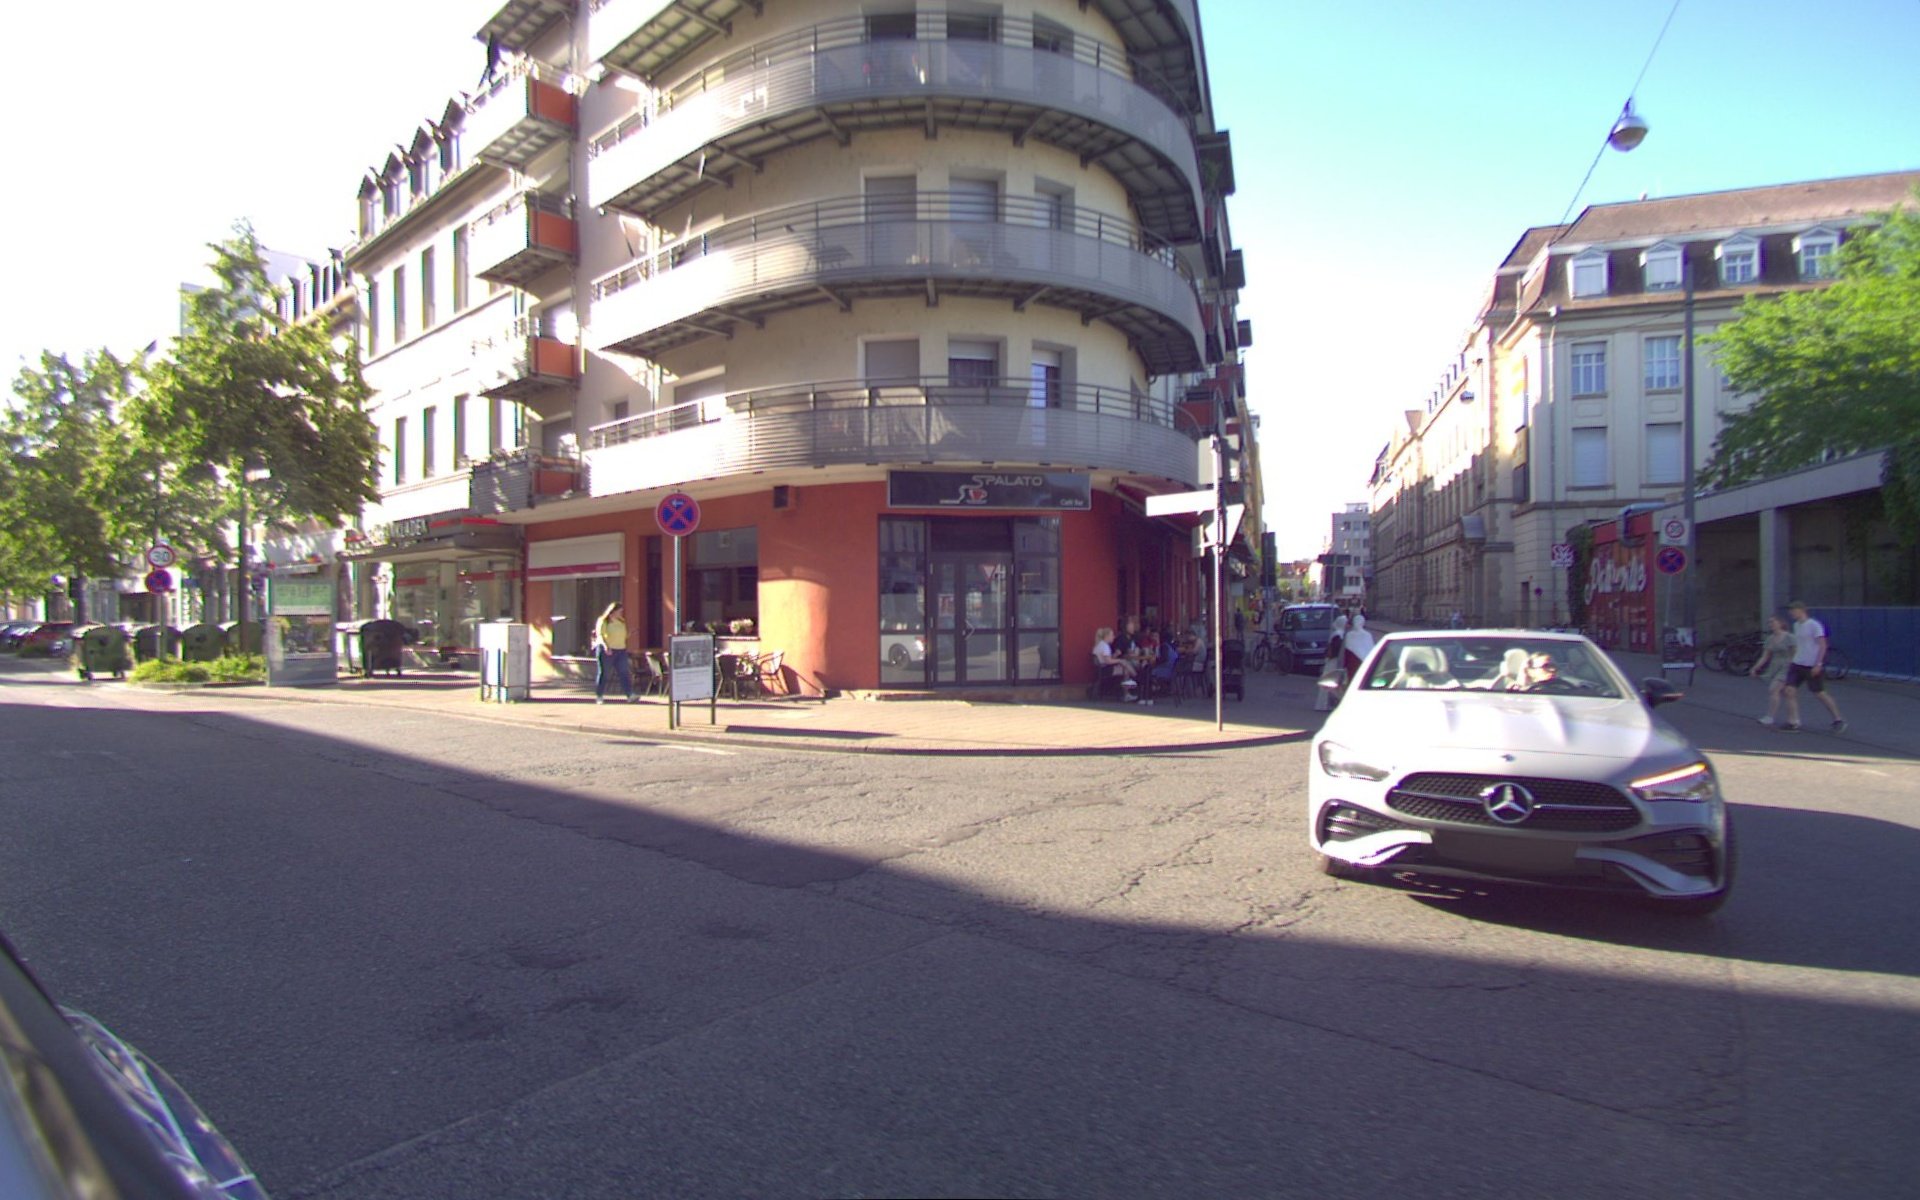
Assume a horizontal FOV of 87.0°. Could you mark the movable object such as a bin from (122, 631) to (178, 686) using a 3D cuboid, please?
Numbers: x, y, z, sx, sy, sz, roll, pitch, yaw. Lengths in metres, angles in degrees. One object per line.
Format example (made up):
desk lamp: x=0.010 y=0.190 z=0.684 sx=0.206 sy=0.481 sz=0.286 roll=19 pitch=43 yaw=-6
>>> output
movable object such as a bin: x=-22.715 y=1.625 z=28.376 sx=1.143 sy=1.483 sz=1.031 roll=-1 pitch=-2 yaw=41

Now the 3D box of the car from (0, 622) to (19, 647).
car: x=-72.328 y=2.606 z=74.669 sx=2.038 sy=1.850 sz=4.061 roll=-2 pitch=-1 yaw=42

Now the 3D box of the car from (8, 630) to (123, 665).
car: x=-40.731 y=2.119 z=46.123 sx=1.790 sy=1.439 sz=3.798 roll=-2 pitch=-1 yaw=43

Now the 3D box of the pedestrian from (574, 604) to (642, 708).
pedestrian: x=-5.903 y=0.920 z=16.944 sx=1.036 sy=1.672 sz=0.658 roll=-2 pitch=-2 yaw=42

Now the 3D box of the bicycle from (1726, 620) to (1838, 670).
bicycle: x=19.043 y=1.042 z=23.477 sx=1.946 sy=1.140 sz=0.504 roll=0 pitch=-2 yaw=14

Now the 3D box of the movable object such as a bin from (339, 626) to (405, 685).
movable object such as a bin: x=-14.626 y=1.347 z=25.170 sx=1.313 sy=1.415 sz=1.031 roll=-1 pitch=-2 yaw=41

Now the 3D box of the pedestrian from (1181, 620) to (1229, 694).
pedestrian: x=4.565 y=1.059 z=18.887 sx=0.689 sy=1.350 sz=0.576 roll=0 pitch=-1 yaw=-11

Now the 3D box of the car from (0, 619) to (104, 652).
car: x=-47.224 y=1.825 z=52.213 sx=1.789 sy=1.469 sz=4.448 roll=-1 pitch=0 yaw=40

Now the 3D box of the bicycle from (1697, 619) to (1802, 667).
bicycle: x=19.252 y=1.043 z=24.703 sx=1.946 sy=1.140 sz=0.504 roll=0 pitch=-2 yaw=14

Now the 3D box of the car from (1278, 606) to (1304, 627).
car: x=25.434 y=1.278 z=77.818 sx=1.895 sy=1.585 sz=4.157 roll=0 pitch=-2 yaw=18

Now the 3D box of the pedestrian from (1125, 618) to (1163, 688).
pedestrian: x=3.586 y=1.019 z=19.720 sx=0.693 sy=1.350 sz=0.572 roll=-1 pitch=-1 yaw=13

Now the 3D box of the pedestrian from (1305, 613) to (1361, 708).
pedestrian: x=6.157 y=0.990 z=16.717 sx=0.690 sy=1.547 sz=0.574 roll=0 pitch=-1 yaw=1

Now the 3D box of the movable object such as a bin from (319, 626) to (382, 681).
movable object such as a bin: x=-15.713 y=1.352 z=26.095 sx=1.313 sy=1.355 sz=1.031 roll=-1 pitch=-2 yaw=41

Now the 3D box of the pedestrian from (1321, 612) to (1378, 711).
pedestrian: x=6.199 y=0.962 z=16.137 sx=0.678 sy=1.547 sz=0.542 roll=0 pitch=-1 yaw=1

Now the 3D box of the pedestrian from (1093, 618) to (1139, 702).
pedestrian: x=2.580 y=0.981 z=16.703 sx=0.693 sy=1.350 sz=0.572 roll=-1 pitch=-1 yaw=13

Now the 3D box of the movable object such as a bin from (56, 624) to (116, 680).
movable object such as a bin: x=-23.821 y=1.398 z=27.589 sx=1.452 sy=1.483 sz=1.031 roll=-1 pitch=-2 yaw=41

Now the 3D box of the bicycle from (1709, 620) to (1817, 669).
bicycle: x=19.096 y=1.052 z=24.103 sx=1.946 sy=1.140 sz=0.504 roll=0 pitch=-2 yaw=14

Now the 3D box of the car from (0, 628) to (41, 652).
car: x=-65.523 y=2.725 z=68.805 sx=1.946 sy=1.582 sz=4.319 roll=-2 pitch=-1 yaw=42

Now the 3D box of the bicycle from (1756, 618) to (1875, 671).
bicycle: x=18.797 y=0.968 z=22.279 sx=1.946 sy=1.140 sz=0.504 roll=0 pitch=-2 yaw=14

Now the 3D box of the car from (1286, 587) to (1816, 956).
car: x=3.619 y=0.757 z=6.679 sx=1.990 sy=1.434 sz=5.069 roll=0 pitch=-2 yaw=27

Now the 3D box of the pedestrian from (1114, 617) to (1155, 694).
pedestrian: x=3.126 y=0.988 z=18.095 sx=0.693 sy=1.350 sz=0.572 roll=-1 pitch=-1 yaw=13

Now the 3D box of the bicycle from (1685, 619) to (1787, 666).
bicycle: x=19.386 y=1.052 z=25.312 sx=1.946 sy=1.140 sz=0.504 roll=0 pitch=-2 yaw=14

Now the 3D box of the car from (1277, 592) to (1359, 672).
car: x=9.986 y=0.910 z=28.507 sx=2.018 sy=2.065 sz=4.325 roll=0 pitch=-2 yaw=18

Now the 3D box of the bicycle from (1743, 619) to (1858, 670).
bicycle: x=18.923 y=0.993 z=22.823 sx=1.946 sy=1.140 sz=0.504 roll=0 pitch=-2 yaw=14

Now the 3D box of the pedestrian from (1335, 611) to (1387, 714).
pedestrian: x=6.142 y=0.946 z=15.524 sx=0.545 sy=1.547 sz=0.542 roll=0 pitch=-1 yaw=1

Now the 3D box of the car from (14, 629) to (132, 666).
car: x=-38.797 y=2.046 z=44.321 sx=1.739 sy=1.479 sz=3.708 roll=-2 pitch=-1 yaw=42

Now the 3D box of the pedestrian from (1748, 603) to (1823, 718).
pedestrian: x=11.975 y=0.862 z=14.696 sx=0.576 sy=1.625 sz=0.614 roll=0 pitch=-1 yaw=9

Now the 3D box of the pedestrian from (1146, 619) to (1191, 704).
pedestrian: x=3.388 y=0.986 z=16.405 sx=0.693 sy=1.350 sz=0.572 roll=-1 pitch=-1 yaw=13

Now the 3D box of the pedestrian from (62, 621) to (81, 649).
pedestrian: x=-60.306 y=2.371 z=68.692 sx=0.762 sy=1.779 sz=0.767 roll=-1 pitch=3 yaw=40

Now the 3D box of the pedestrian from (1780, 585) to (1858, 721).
pedestrian: x=11.889 y=0.727 z=14.022 sx=0.552 sy=1.841 sz=0.586 roll=0 pitch=-2 yaw=9

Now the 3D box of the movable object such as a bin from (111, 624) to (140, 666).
movable object such as a bin: x=-27.690 y=1.476 z=33.576 sx=0.805 sy=1.351 sz=0.628 roll=-1 pitch=-2 yaw=41

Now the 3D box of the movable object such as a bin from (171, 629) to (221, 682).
movable object such as a bin: x=-22.102 y=1.594 z=29.279 sx=1.143 sy=1.483 sz=0.954 roll=-1 pitch=-1 yaw=41

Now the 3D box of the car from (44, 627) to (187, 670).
car: x=-32.988 y=1.850 z=39.589 sx=1.740 sy=1.479 sz=4.156 roll=-2 pitch=-1 yaw=44

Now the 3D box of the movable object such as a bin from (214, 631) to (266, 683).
movable object such as a bin: x=-21.381 y=1.685 z=30.058 sx=1.143 sy=1.483 sz=1.031 roll=-1 pitch=-2 yaw=41

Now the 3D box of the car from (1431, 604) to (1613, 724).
car: x=8.367 y=0.904 z=15.478 sx=1.909 sy=1.527 sz=4.698 roll=0 pitch=-2 yaw=23

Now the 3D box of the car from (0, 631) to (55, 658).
car: x=-55.568 y=2.594 z=59.146 sx=1.779 sy=1.470 sz=3.743 roll=-1 pitch=-1 yaw=39

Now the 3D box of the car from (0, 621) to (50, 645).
car: x=-63.326 y=2.200 z=67.079 sx=1.980 sy=1.582 sz=4.319 roll=-2 pitch=-1 yaw=42
